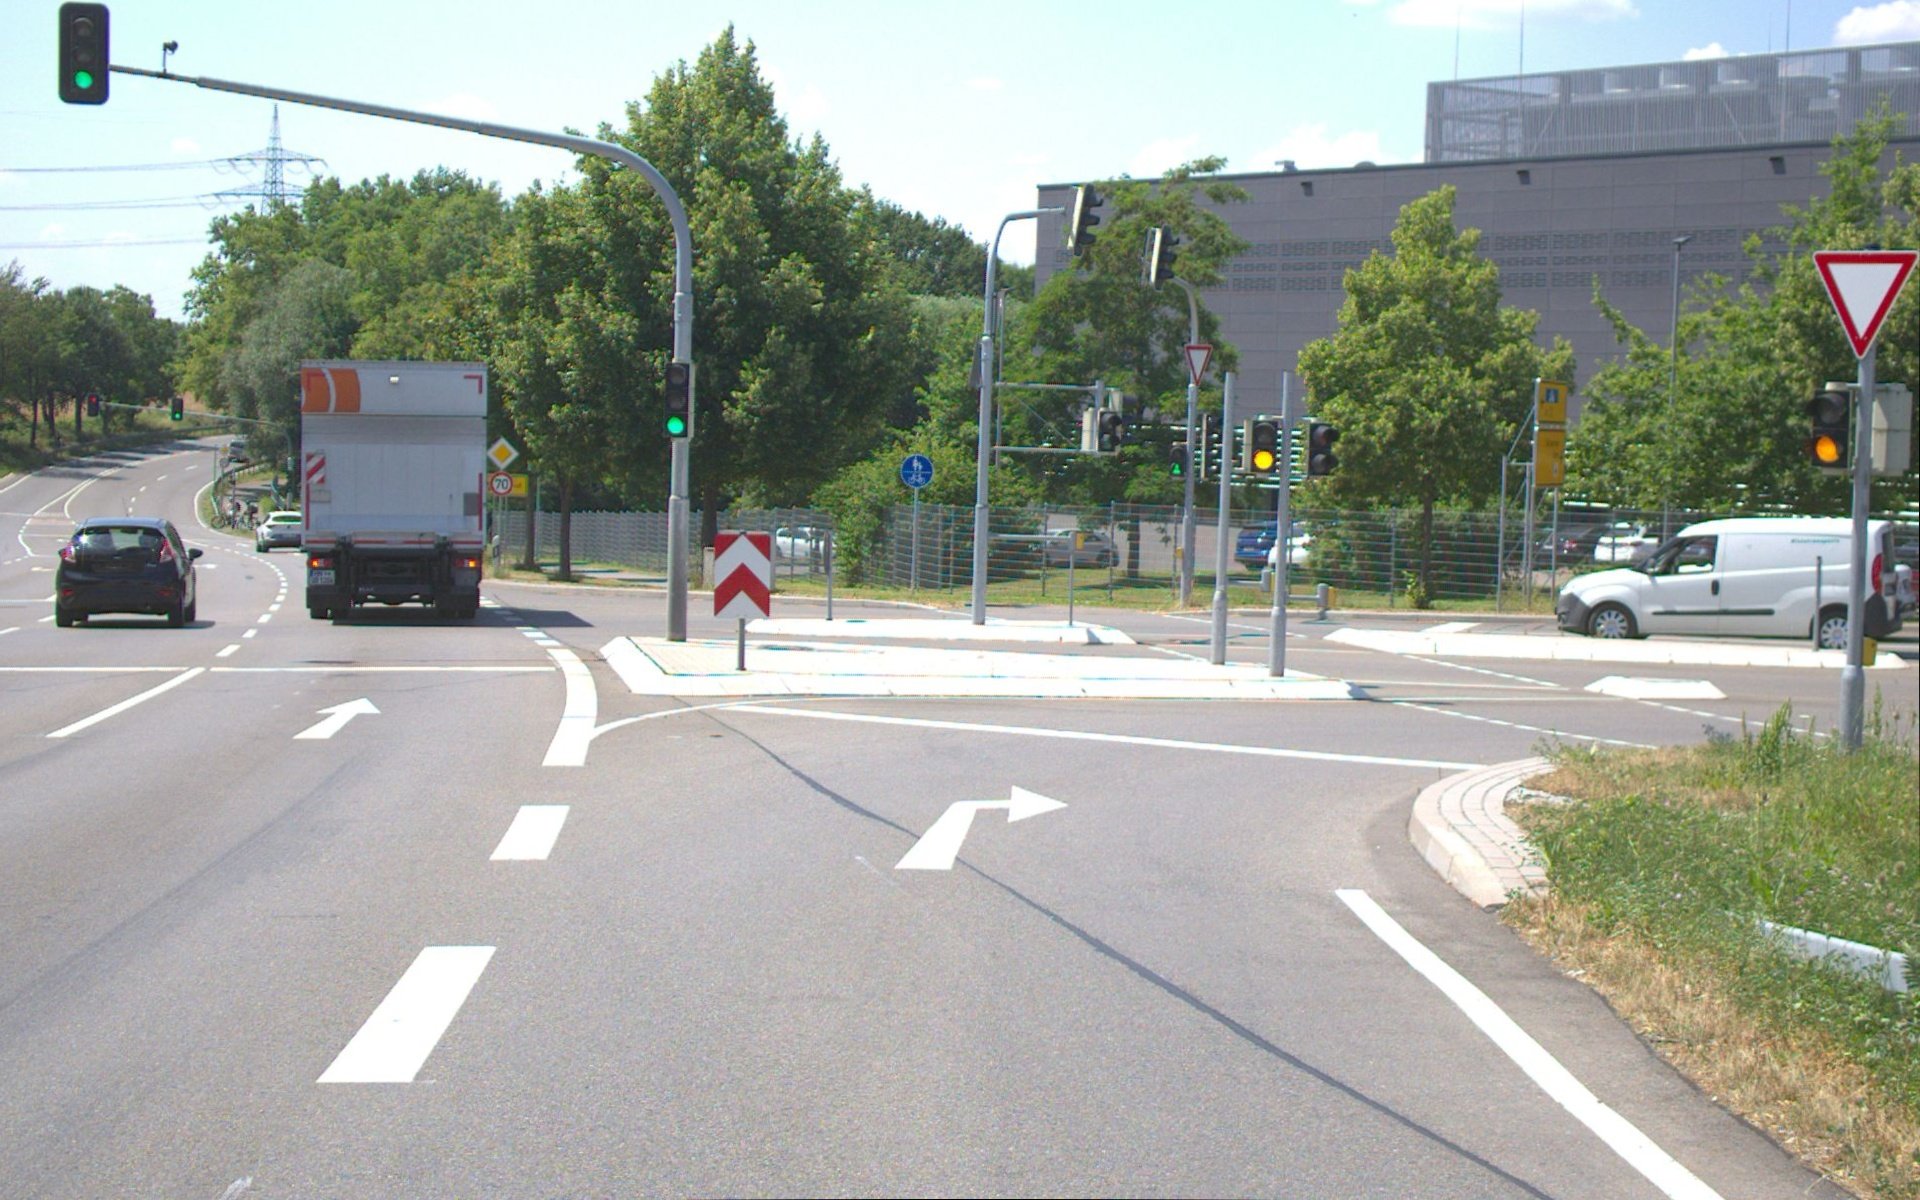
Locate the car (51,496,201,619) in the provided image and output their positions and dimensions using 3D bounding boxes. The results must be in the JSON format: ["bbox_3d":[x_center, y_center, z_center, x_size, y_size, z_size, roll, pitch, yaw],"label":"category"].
[{"bbox_3d":[-11.406,-0.625,47.230,1.652,1.488,4.209,1,3,-9],"label":"car"}]

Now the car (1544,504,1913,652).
[{"bbox_3d":[10.765,-0.333,48.117,4.750,1.925,2.151,2,1,21],"label":"car"}]

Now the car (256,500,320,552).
[{"bbox_3d":[-24.638,-2.721,125.938,1.943,1.658,4.002,3,2,-15],"label":"car"}]

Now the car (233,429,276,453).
[{"bbox_3d":[-51.680,-11.633,251.764,1.994,1.678,4.000,1,1,5],"label":"car"}]

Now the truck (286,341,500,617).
[{"bbox_3d":[-8.456,-1.819,51.286,2.803,3.698,9.111,1,2,-9],"label":"truck"}]
